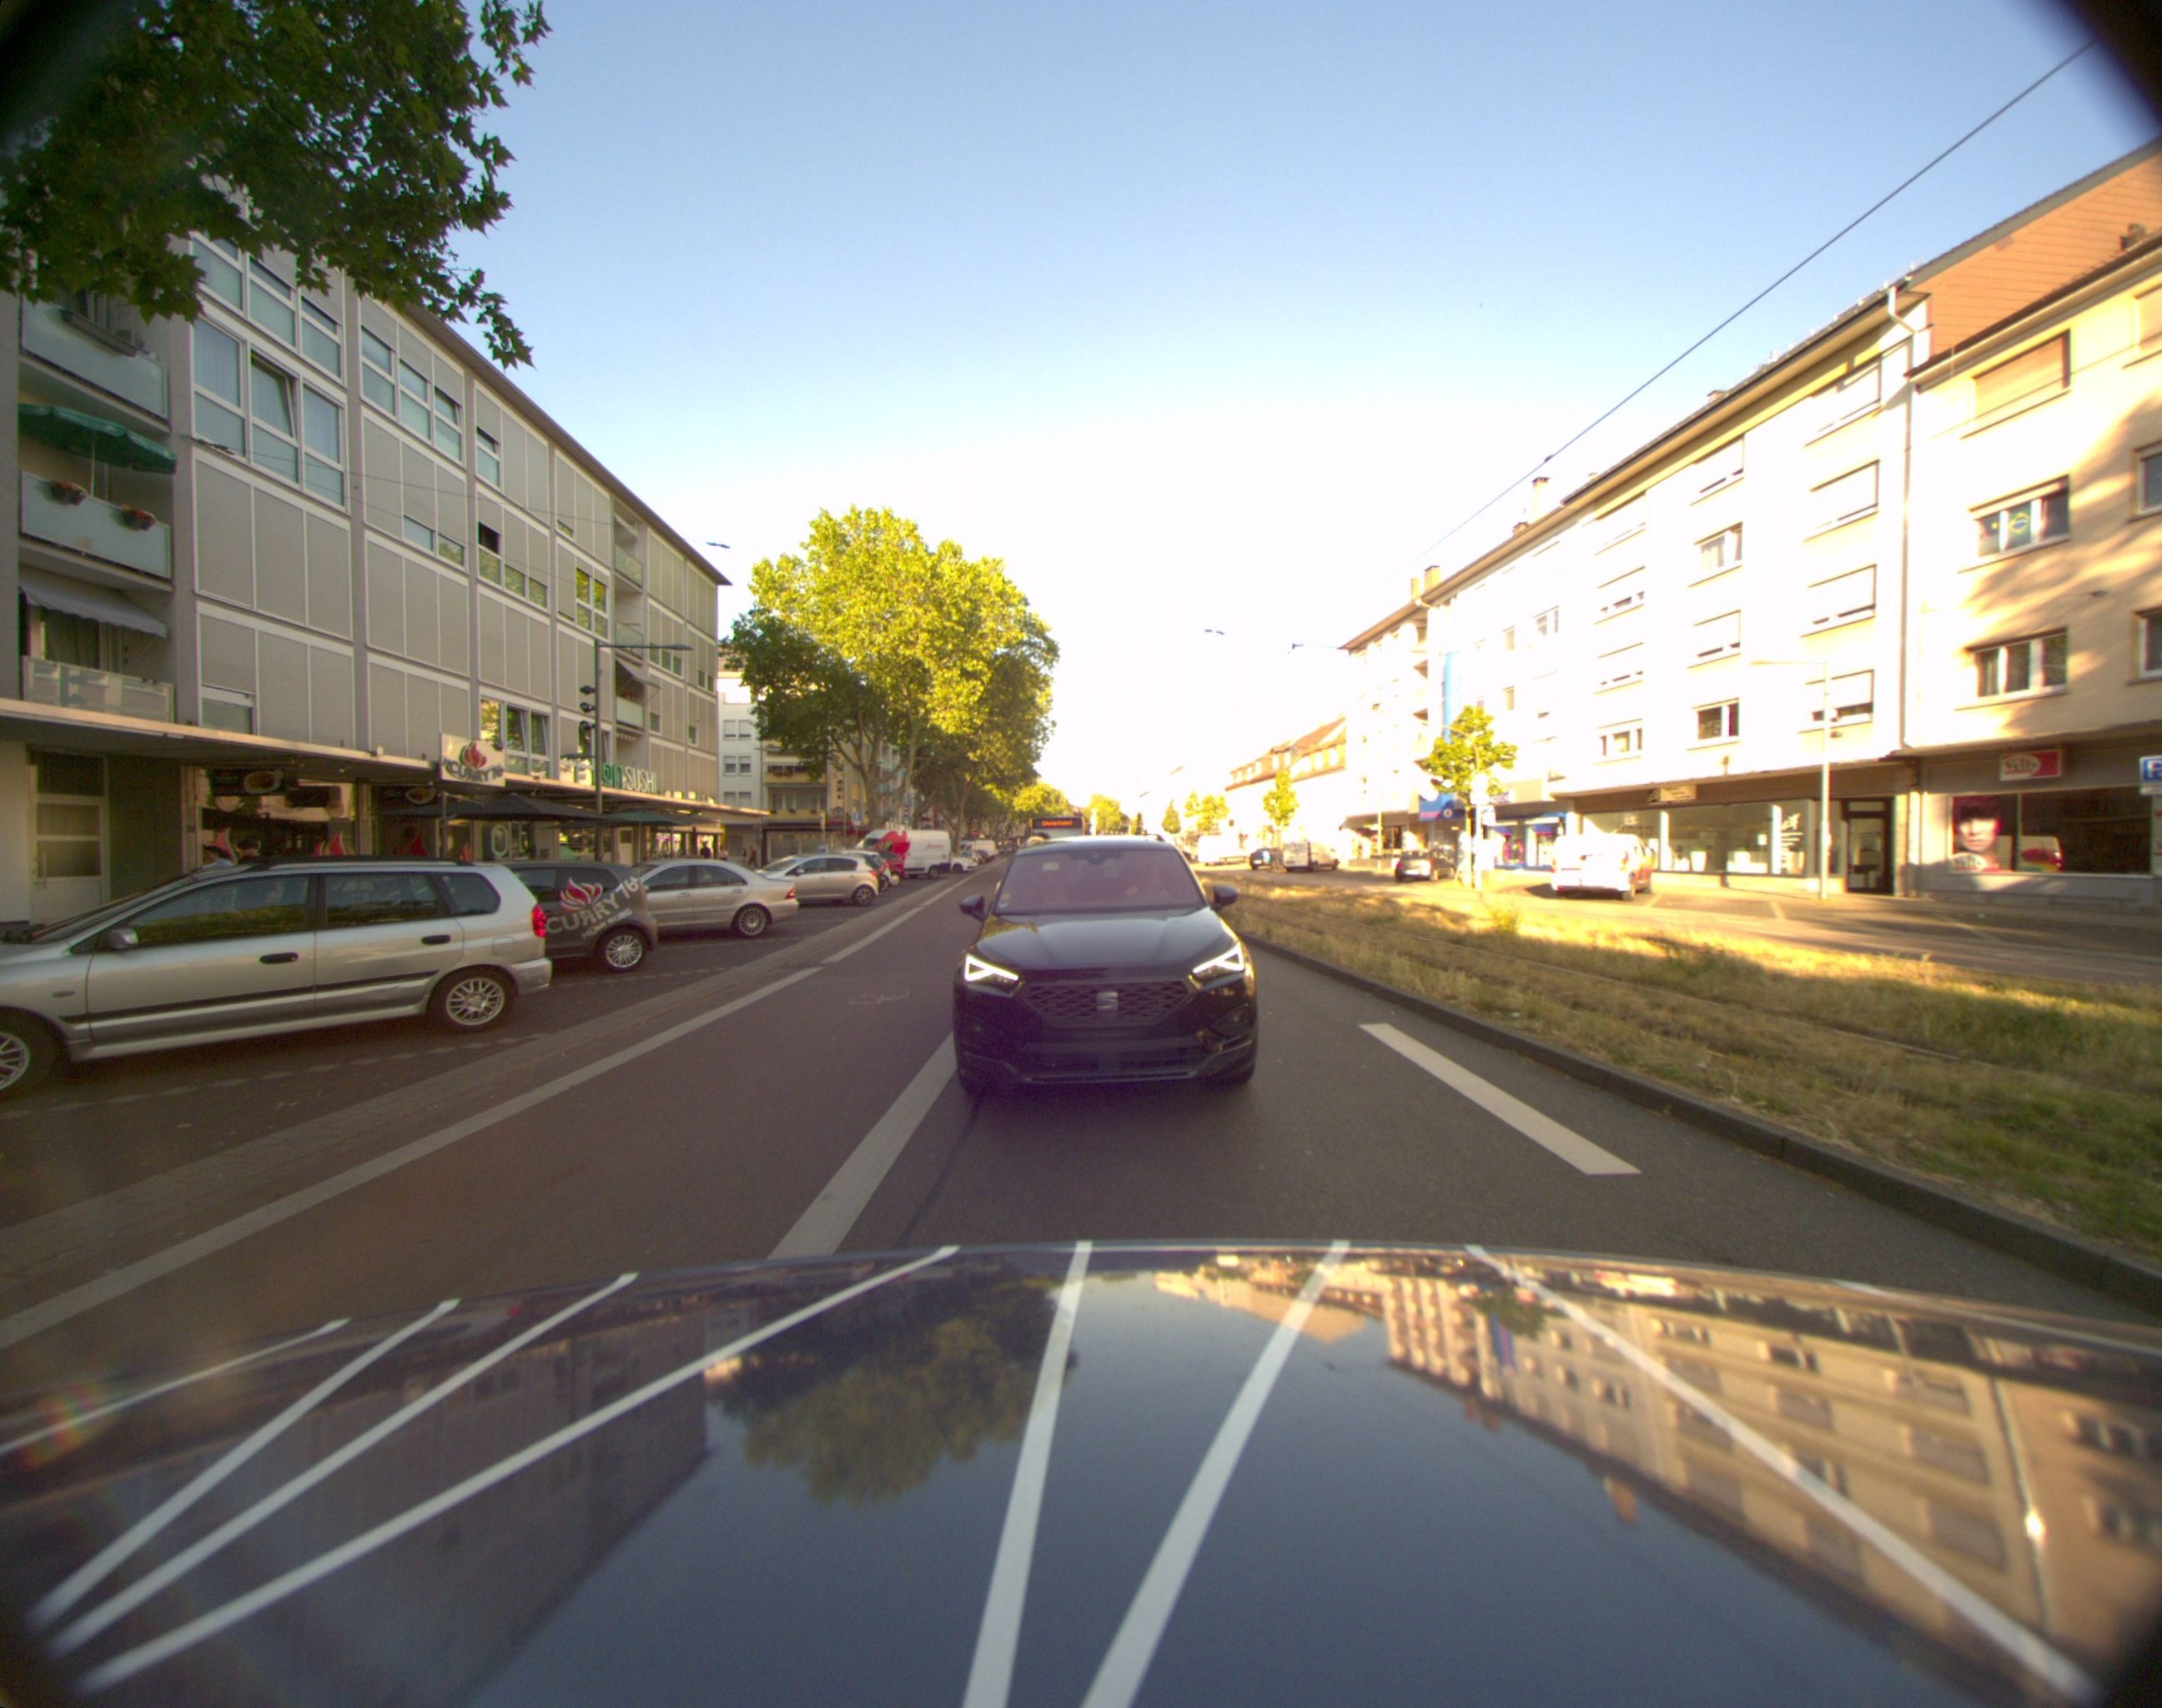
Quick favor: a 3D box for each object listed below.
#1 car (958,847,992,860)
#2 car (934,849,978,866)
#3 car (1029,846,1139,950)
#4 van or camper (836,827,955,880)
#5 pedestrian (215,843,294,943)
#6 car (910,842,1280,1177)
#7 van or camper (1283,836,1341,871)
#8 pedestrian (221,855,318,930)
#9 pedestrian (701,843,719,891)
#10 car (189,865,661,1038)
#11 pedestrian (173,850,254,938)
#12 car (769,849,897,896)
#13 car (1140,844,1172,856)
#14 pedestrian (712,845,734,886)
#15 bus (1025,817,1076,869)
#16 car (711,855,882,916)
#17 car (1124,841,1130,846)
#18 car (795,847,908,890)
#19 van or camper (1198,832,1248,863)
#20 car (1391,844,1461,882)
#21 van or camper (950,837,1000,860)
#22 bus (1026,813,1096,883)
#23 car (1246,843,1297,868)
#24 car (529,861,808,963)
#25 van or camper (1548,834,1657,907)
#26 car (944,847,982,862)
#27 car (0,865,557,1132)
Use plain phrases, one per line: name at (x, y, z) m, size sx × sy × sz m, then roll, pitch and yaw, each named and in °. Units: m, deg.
car at (-11.384, -0.075, 81.337) m, size 3.337 × 1.339 × 1.526 m, roll 0°, pitch 2°, yaw -44°
car at (-10.550, 0.280, 64.295) m, size 3.337 × 1.339 × 1.526 m, roll 0°, pitch 2°, yaw -44°
car at (0.043, 0.644, 13.582) m, size 1.658 × 1.572 × 3.999 m, roll 0°, pitch 1°, yaw 0°
van or camper at (-9.108, -0.060, 37.672) m, size 5.474 × 2.455 × 1.994 m, roll -1°, pitch 1°, yaw -44°
pedestrian at (-13.532, 0.619, 12.451) m, size 0.538 × 1.582 × 0.686 m, roll 2°, pitch 1°, yaw -5°
car at (0.100, 0.763, 5.835) m, size 1.808 × 1.638 × 3.999 m, roll -2°, pitch 1°, yaw 1°
van or camper at (14.589, -0.052, 47.853) m, size 1.795 × 1.978 × 4.460 m, roll -1°, pitch 1°, yaw 41°
pedestrian at (-15.155, 0.701, 14.222) m, size 0.750 × 1.354 × 0.962 m, roll 0°, pitch 1°, yaw 0°
pedestrian at (-15.865, 0.564, 32.492) m, size 0.552 × 2.002 × 0.576 m, roll -3°, pitch 1°, yaw -18°
car at (-7.570, 0.930, 9.142) m, size 1.804 × 1.498 × 4.008 m, roll 1°, pitch 1°, yaw 38°
pedestrian at (-14.244, 0.638, 12.493) m, size 0.538 × 1.392 × 0.686 m, roll 2°, pitch 1°, yaw -5°
car at (-8.788, 0.614, 27.081) m, size 4.008 × 1.514 × 1.654 m, roll 0°, pitch 2°, yaw -44°
car at (10.172, -0.492, 103.252) m, size 3.921 × 1.482 × 1.766 m, roll -3°, pitch 1°, yaw -27°
pedestrian at (-13.963, 0.449, 29.640) m, size 0.538 × 1.582 × 0.686 m, roll 2°, pitch 1°, yaw -5°
bus at (-2.251, -0.837, 51.485) m, size 2.873 × 2.962 × 12.231 m, roll -2°, pitch 2°, yaw -5°
car at (-7.609, 0.764, 20.574) m, size 4.008 × 1.428 × 1.654 m, roll 0°, pitch 2°, yaw -44°
car at (14.868, -3.366, 246.438) m, size 1.869 × 1.832 × 3.826 m, roll 0°, pitch 1°, yaw 2°
car at (-9.094, 0.521, 30.275) m, size 4.008 × 1.555 × 1.654 m, roll 0°, pitch 2°, yaw -44°
van or camper at (12.912, -0.629, 68.617) m, size 1.994 × 2.652 × 6.410 m, roll -1°, pitch 1°, yaw 34°
car at (15.629, 0.390, 34.289) m, size 1.765 × 1.482 × 4.460 m, roll -1°, pitch 1°, yaw 39°
van or camper at (-11.823, -0.623, 84.825) m, size 1.994 × 2.455 × 5.474 m, roll 1°, pitch 1°, yaw 44°
bus at (-1.312, -0.434, 39.376) m, size 2.873 × 2.962 × 12.231 m, roll -2°, pitch 2°, yaw -5°
car at (13.755, 0.105, 54.714) m, size 1.874 × 1.577 × 4.007 m, roll -1°, pitch 1°, yaw 43°
car at (-7.122, 0.889, 13.430) m, size 1.654 × 1.428 × 4.008 m, roll 3°, pitch 2°, yaw 43°
van or camper at (15.836, 0.416, 22.960) m, size 1.946 × 1.887 × 4.824 m, roll -1°, pitch 1°, yaw 43°
car at (-11.476, 0.031, 74.084) m, size 3.337 × 1.339 × 1.526 m, roll 0°, pitch 2°, yaw -44°
car at (-6.882, 0.938, 6.127) m, size 1.804 × 1.597 × 4.008 m, roll 1°, pitch 1°, yaw 38°
